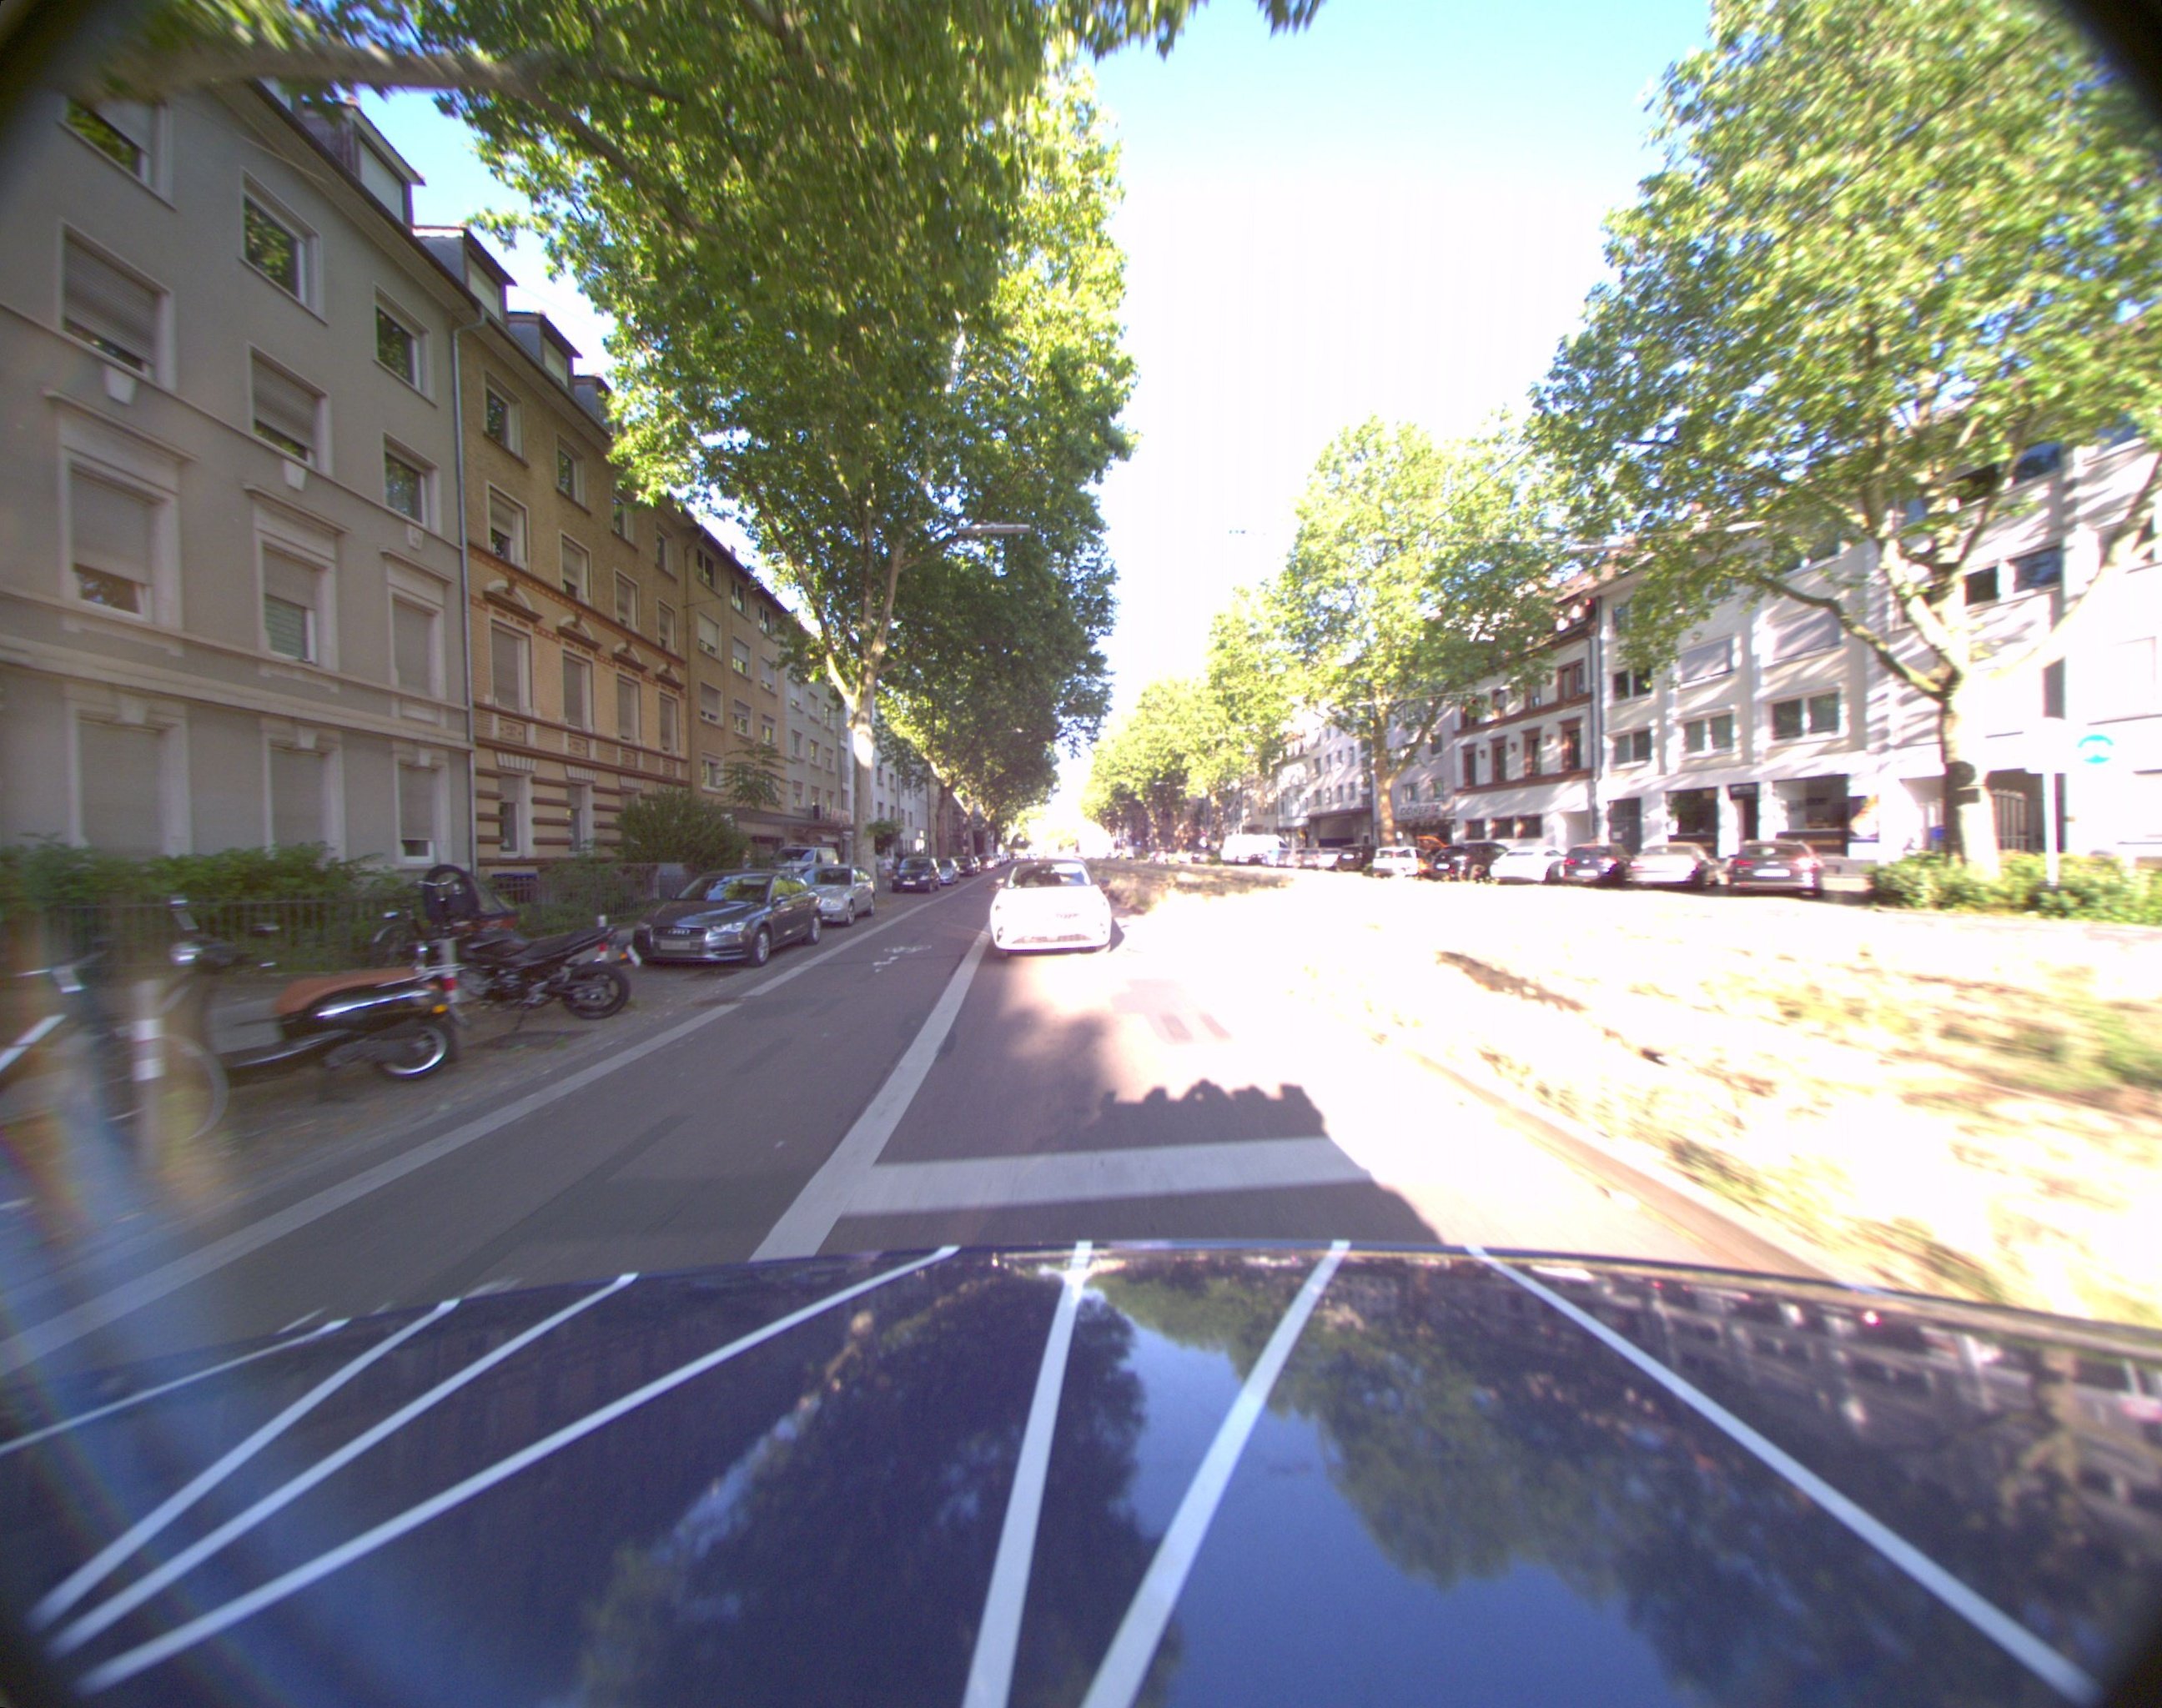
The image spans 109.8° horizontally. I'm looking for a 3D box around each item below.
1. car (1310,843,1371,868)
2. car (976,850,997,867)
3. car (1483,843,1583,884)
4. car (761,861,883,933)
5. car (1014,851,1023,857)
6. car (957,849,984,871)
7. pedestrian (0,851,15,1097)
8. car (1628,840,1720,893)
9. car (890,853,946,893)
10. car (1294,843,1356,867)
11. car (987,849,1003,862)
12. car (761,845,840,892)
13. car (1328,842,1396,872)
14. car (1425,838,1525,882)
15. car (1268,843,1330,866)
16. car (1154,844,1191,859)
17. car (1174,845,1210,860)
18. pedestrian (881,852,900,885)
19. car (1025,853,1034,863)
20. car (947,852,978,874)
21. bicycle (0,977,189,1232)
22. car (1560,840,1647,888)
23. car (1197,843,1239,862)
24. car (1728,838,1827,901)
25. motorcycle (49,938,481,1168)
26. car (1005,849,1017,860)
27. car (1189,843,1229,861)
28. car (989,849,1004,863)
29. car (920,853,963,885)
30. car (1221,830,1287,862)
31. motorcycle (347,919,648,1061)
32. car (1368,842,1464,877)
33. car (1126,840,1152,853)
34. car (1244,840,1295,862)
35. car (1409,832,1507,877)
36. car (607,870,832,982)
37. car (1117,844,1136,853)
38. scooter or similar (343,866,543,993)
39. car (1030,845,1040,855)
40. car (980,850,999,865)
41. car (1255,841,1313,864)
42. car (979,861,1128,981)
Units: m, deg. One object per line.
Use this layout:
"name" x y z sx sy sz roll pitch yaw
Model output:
"car" 16.456 0.079 48.013 4.265 1.451 1.598 -2 1 -39
"car" -9.330 0.462 75.112 1.803 1.599 4.103 1 1 -4
"car" 17.155 0.308 28.766 4.266 1.369 2.147 -2 1 -44
"car" -6.211 0.961 18.744 1.803 1.446 4.509 1 1 -5
"car" -18.701 -0.008 227.825 1.998 1.850 3.999 -3 1 2
"car" -8.634 0.464 59.676 1.803 1.599 4.368 1 1 -4
"pedestrian" -7.826 0.834 4.892 0.728 1.701 0.815 1 2 -3
"car" 18.042 0.357 23.059 1.738 1.424 3.979 -2 0 44
"car" -7.115 0.782 33.611 1.803 1.599 4.368 1 1 -4
"car" 16.498 0.047 51.297 4.265 1.449 1.902 -2 1 -39
"car" -10.735 0.198 95.346 1.803 1.599 4.103 1 1 -4
"car" -12.061 0.567 33.013 1.934 1.864 4.675 1 1 -4
"car" 16.491 0.147 44.462 4.265 1.605 1.902 -2 1 -41
"car" 16.648 0.208 32.048 4.265 1.674 2.147 -2 1 -38
"car" 15.923 0.019 55.464 4.004 1.509 1.996 -2 1 -23
"car" 11.262 -0.274 93.810 4.236 1.696 1.998 -1 1 -7
"car" 13.400 -0.203 91.736 4.006 1.696 1.995 -2 1 -30
"pedestrian" -9.229 0.708 36.826 0.728 1.571 0.701 -1 2 -3
"car" -12.043 0.903 177.618 1.999 2.002 3.998 -3 1 -2
"car" -8.390 0.611 54.282 1.803 1.494 4.368 1 1 -4
"bicycle" -5.573 1.252 3.487 0.619 1.104 1.804 0 -1 24
"car" 18.167 0.306 26.354 1.827 1.495 3.979 -1 1 44
"car" 14.421 -0.179 80.011 4.006 1.805 1.995 -2 1 -30
"car" 18.252 0.342 19.866 1.767 1.423 3.979 -1 1 44
"motorcycle" -5.361 1.216 5.185 0.783 1.104 1.895 0 -1 44
"car" -10.922 0.101 118.854 1.803 1.598 3.700 1 1 -4
"car" 14.051 -0.200 83.266 4.006 1.805 1.995 -2 1 -30
"car" -11.227 0.226 101.699 1.803 1.742 4.103 1 1 -4
"car" -7.492 0.755 41.165 1.803 1.599 4.368 1 1 -4
"car" 15.488 -0.738 67.883 5.620 2.685 2.175 -2 1 -27
"motorcycle" -5.451 1.228 7.315 2.217 1.104 0.662 1 -1 -30
"car" 16.278 0.238 36.949 4.261 1.549 1.640 -2 1 -18
"car" 10.685 -1.406 140.065 2.096 2.200 4.951 0 1 45
"car" 16.176 -0.257 65.235 4.006 1.805 1.995 -2 1 -30
"car" 17.638 -0.005 35.537 4.261 1.932 1.514 -2 1 -18
"car" -5.664 1.042 12.603 1.803 1.393 4.368 1 1 -3
"car" 9.891 -1.129 163.670 3.995 1.802 1.874 -1 1 6
"scooter or similar" -8.671 0.939 10.536 0.666 1.461 2.544 -1 1 -3
"car" -9.564 -0.778 158.886 1.999 2.002 3.998 -3 1 -3
"car" -9.984 0.374 82.788 1.803 1.599 4.103 1 1 -4
"car" 15.648 -0.108 58.579 4.006 1.608 1.995 -2 1 -30
"car" -0.483 0.879 11.789 1.866 1.394 3.930 -3 1 -4
